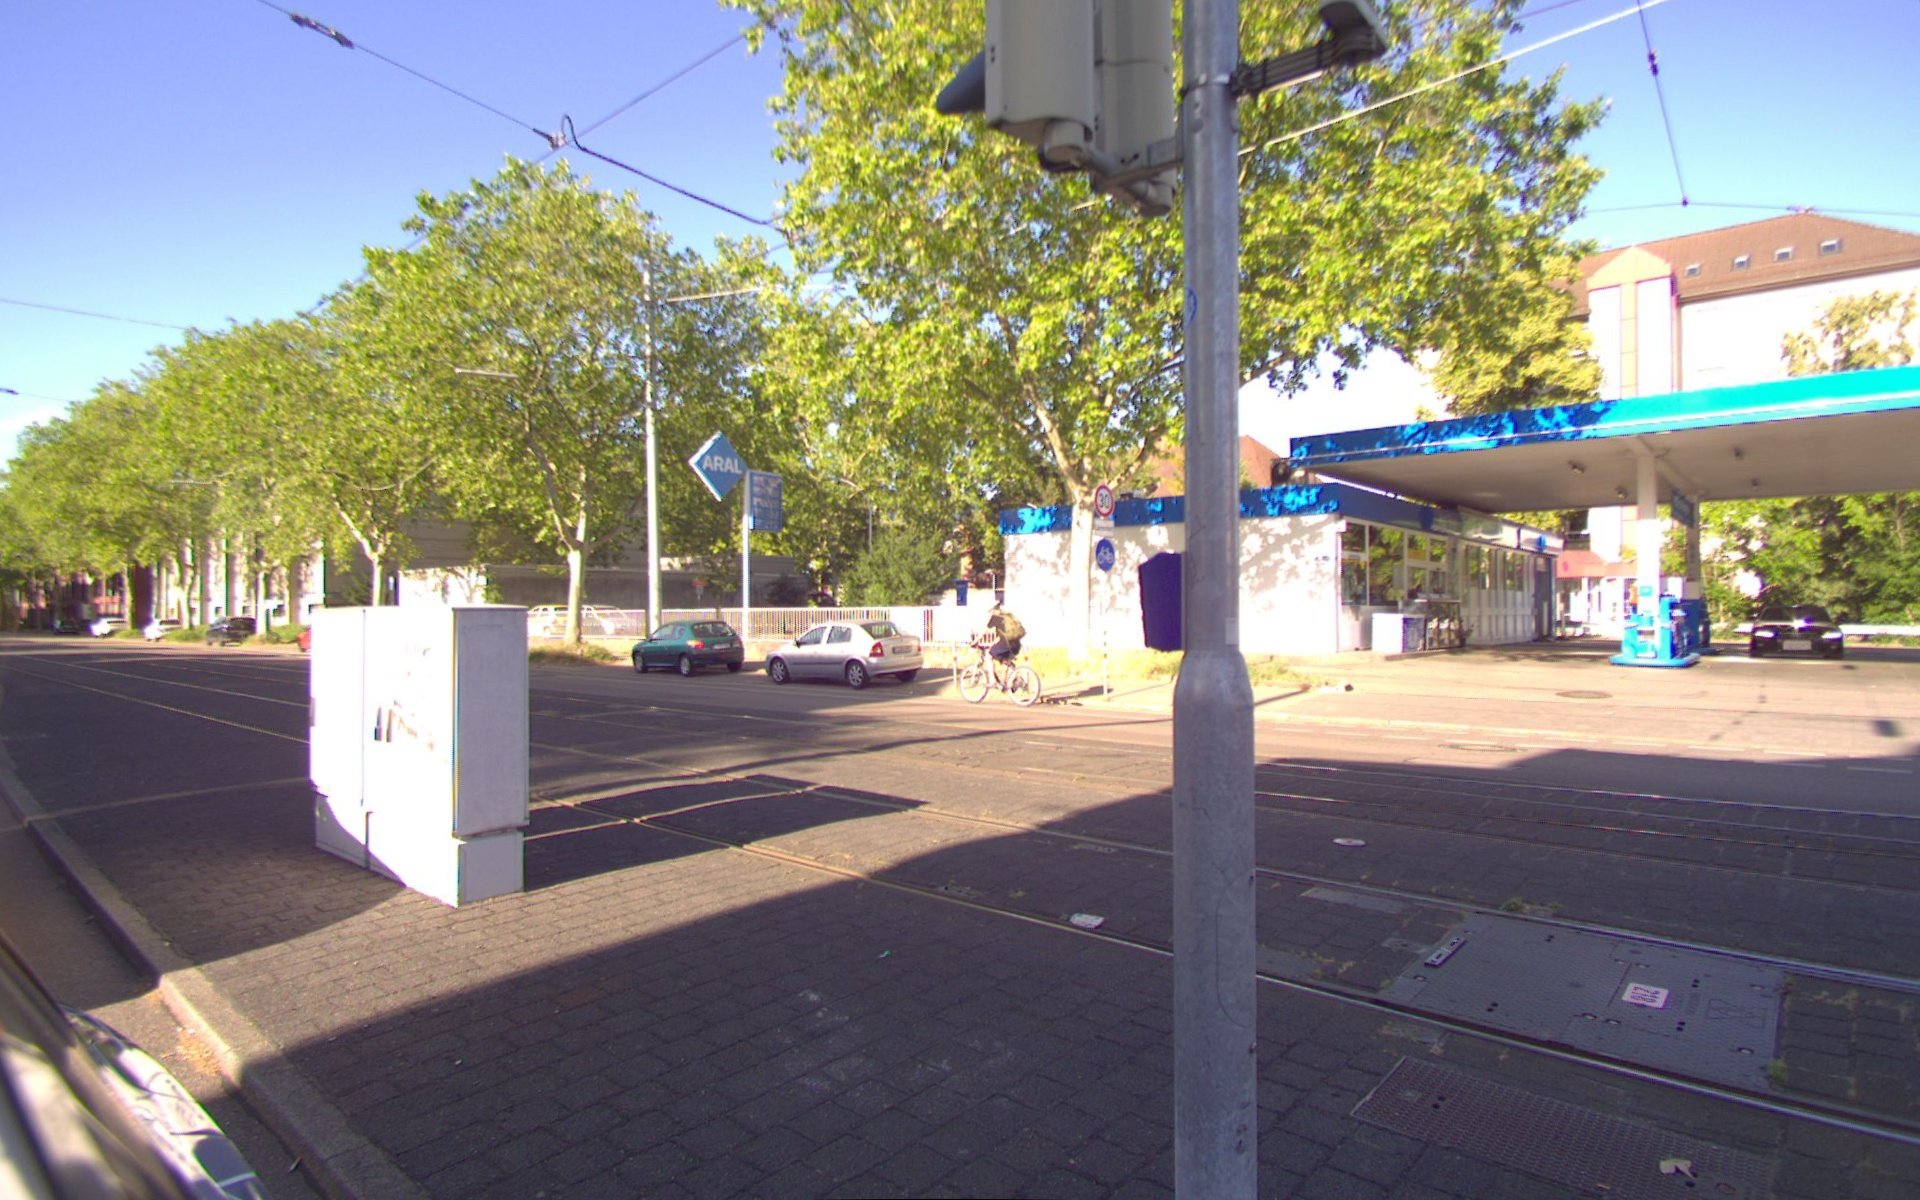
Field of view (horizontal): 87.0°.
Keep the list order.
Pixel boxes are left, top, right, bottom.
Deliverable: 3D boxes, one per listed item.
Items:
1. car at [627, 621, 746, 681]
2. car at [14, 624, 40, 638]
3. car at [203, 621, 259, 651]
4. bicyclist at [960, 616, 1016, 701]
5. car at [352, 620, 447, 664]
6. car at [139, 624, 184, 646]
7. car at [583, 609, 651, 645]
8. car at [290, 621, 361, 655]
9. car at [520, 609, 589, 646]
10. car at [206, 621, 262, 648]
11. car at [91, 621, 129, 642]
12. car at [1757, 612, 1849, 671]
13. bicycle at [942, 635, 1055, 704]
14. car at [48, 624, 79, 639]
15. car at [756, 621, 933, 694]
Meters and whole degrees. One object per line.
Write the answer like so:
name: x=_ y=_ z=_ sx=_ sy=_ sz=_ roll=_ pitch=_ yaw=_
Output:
car: x=-7.294 y=1.310 z=26.891 sx=3.253 sy=1.431 sz=1.526 roll=-1 pitch=0 yaw=41
car: x=-103.226 y=3.413 z=111.966 sx=3.998 sy=1.420 sz=1.678 roll=-1 pitch=-2 yaw=41
car: x=-40.732 y=1.994 z=56.530 sx=3.998 sy=1.587 sz=1.678 roll=-1 pitch=-2 yaw=41
bicyclist: x=0.468 y=0.959 z=16.826 sx=0.797 sy=1.376 sz=0.556 roll=-1 pitch=0 yaw=21
car: x=-22.230 y=1.615 z=40.098 sx=4.431 sy=1.534 sz=1.731 roll=-1 pitch=3 yaw=40
car: x=-53.807 y=2.307 z=68.194 sx=3.998 sy=1.420 sz=1.678 roll=-1 pitch=-2 yaw=41
car: x=-14.777 y=1.134 z=43.541 sx=3.151 sy=1.431 sz=1.525 roll=-1 pitch=0 yaw=44
car: x=-29.044 y=1.716 z=46.277 sx=3.998 sy=1.480 sz=1.678 roll=0 pitch=-1 yaw=41
car: x=-16.841 y=1.107 z=41.980 sx=3.151 sy=1.431 sz=1.525 roll=-1 pitch=0 yaw=44
car: x=-40.597 y=1.902 z=56.570 sx=3.998 sy=1.420 sz=1.678 roll=-1 pitch=-2 yaw=41
car: x=-66.808 y=2.433 z=79.541 sx=3.998 sy=1.569 sz=1.678 roll=-1 pitch=-2 yaw=41
car: x=21.048 y=0.986 z=25.270 sx=1.665 sy=1.309 sz=3.433 roll=-1 pitch=0 yaw=41
bicycle: x=0.639 y=1.127 z=16.766 sx=1.782 sy=1.078 sz=0.571 roll=-1 pitch=0 yaw=22
car: x=-85.179 y=2.995 z=96.158 sx=3.998 sy=1.420 sz=1.678 roll=-1 pitch=-2 yaw=41
car: x=-2.644 y=1.209 z=22.663 sx=3.998 sy=1.431 sz=1.709 roll=-1 pitch=0 yaw=41
